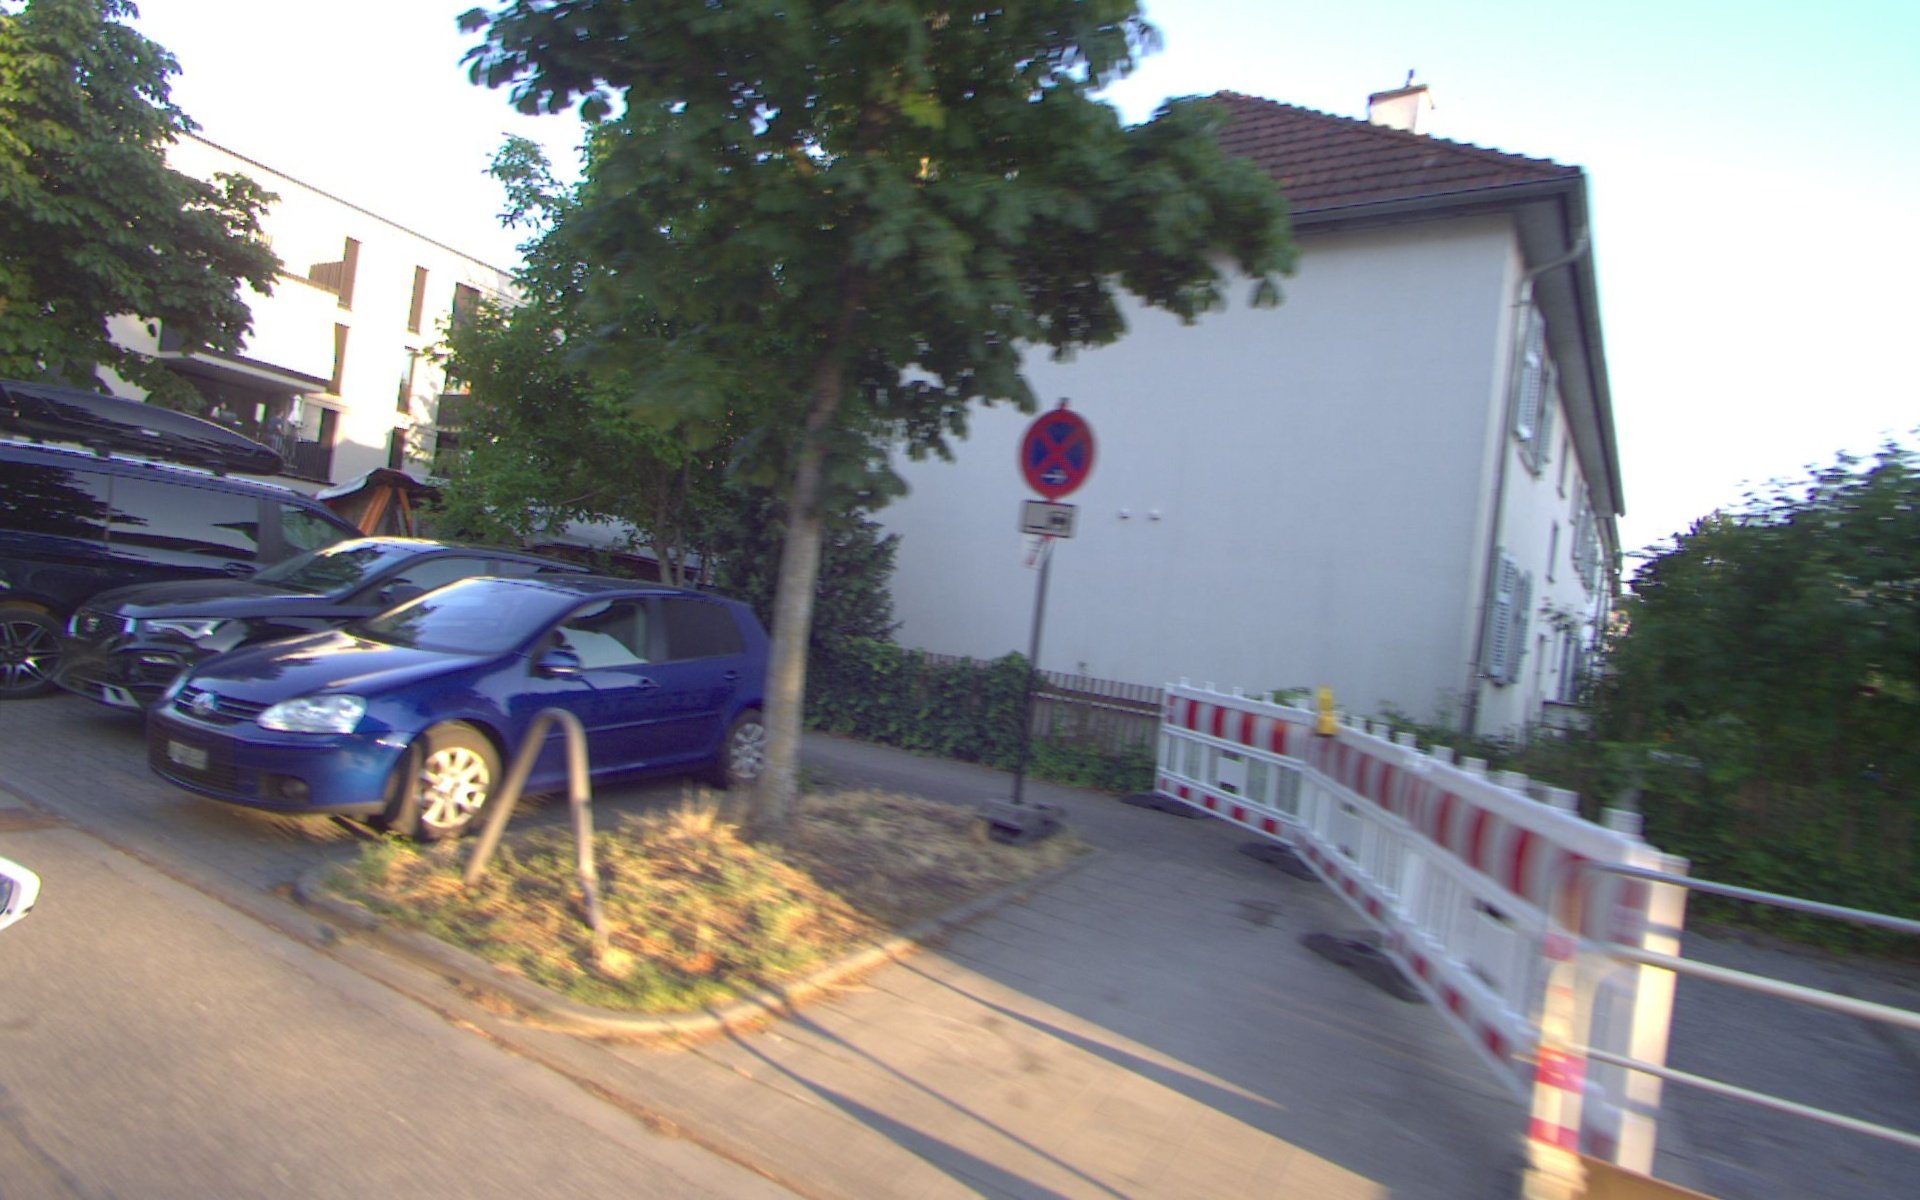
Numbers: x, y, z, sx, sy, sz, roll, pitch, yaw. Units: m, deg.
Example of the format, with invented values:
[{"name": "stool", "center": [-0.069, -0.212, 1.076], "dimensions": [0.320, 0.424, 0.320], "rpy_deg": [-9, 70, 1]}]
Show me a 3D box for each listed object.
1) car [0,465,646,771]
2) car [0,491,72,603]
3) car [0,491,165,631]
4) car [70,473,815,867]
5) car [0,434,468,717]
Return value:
[{"name": "car", "center": [-4.904, 0.221, 8.327], "dimensions": [1.966, 1.789, 3.997], "rpy_deg": [7, -2, 29]}, {"name": "car", "center": [-15.512, -0.952, 14.112], "dimensions": [1.766, 1.592, 4.158], "rpy_deg": [7, 0, 26]}, {"name": "car", "center": [-13.289, -0.684, 13.153], "dimensions": [1.941, 1.667, 3.953], "rpy_deg": [7, -2, 26]}, {"name": "car", "center": [-2.892, 0.462, 6.657], "dimensions": [1.733, 1.669, 4.001], "rpy_deg": [7, -2, 26]}, {"name": "car", "center": [-7.286, -0.133, 9.089], "dimensions": [2.064, 2.045, 4.571], "rpy_deg": [7, -2, 28]}]
